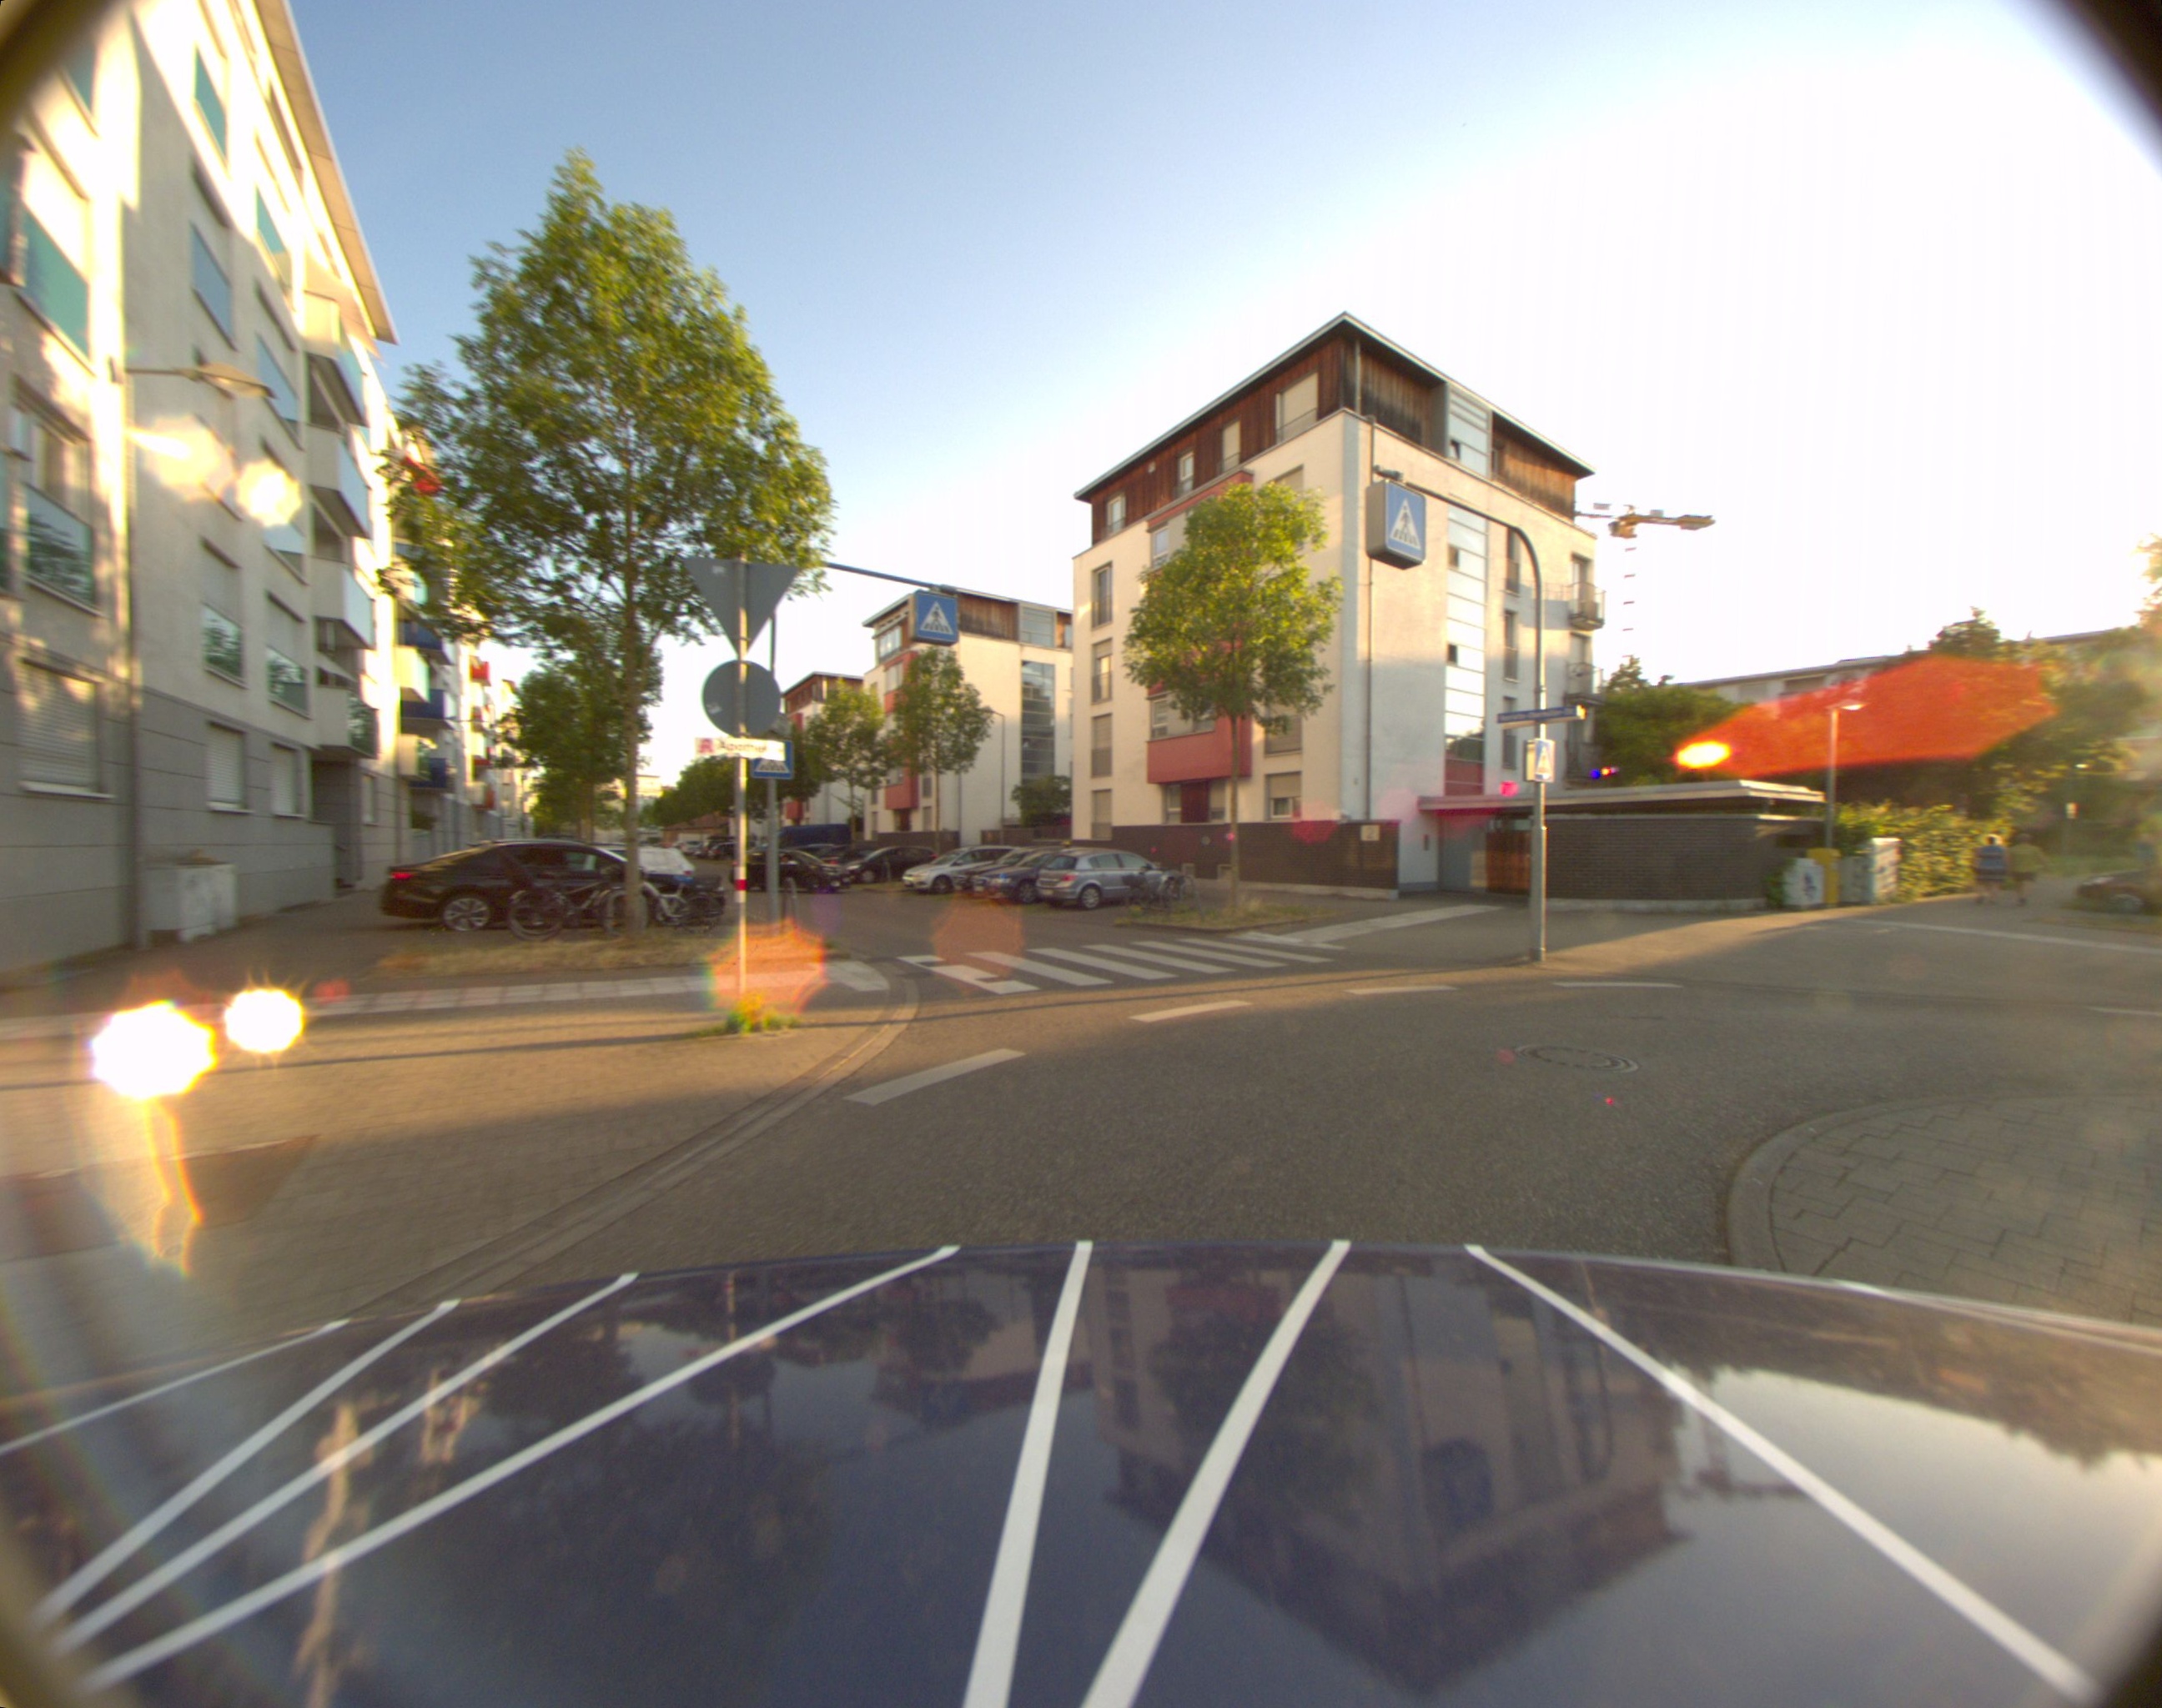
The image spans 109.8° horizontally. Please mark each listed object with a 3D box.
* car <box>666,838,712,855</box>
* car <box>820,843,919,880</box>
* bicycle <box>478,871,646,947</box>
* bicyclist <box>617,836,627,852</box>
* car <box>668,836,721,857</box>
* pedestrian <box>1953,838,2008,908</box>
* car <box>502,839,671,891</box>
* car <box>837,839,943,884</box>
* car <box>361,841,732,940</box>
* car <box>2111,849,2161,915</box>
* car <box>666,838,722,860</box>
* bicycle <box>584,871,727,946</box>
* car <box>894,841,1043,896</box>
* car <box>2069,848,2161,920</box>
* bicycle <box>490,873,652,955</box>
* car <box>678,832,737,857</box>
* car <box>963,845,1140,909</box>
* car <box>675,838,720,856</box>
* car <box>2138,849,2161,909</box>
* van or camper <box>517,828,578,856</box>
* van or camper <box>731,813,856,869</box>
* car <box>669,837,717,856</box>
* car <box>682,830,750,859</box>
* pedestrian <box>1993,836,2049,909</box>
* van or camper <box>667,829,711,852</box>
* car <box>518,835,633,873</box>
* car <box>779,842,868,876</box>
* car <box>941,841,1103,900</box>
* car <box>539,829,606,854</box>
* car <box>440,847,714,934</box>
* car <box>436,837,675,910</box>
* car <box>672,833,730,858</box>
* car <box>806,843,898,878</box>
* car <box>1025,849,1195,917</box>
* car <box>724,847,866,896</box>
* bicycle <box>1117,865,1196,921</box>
[{"bbox_3d":[-41.908,-0.798,81.249,4.263,1.629,1.688,2,0,-33],"label":"car"},{"bbox_3d":[-9.480,0.305,34.185,3.928,1.507,1.719,-2,2,-38],"label":"car"},{"bbox_3d":[-7.770,0.806,11.446,2.040,1.040,0.472,2,-1,-38],"label":"bicycle"},{"bbox_3d":[-45.298,-1.000,75.026,0.769,1.618,0.661,-1,2,-36],"label":"bicyclist"},{"bbox_3d":[-36.925,-0.715,72.592,4.263,1.776,1.688,2,0,-35],"label":"car"},{"bbox_3d":[21.415,0.436,18.112,0.654,1.591,0.714,1,4,37],"label":"pedestrian"},{"bbox_3d":[-15.521,0.365,23.950,4.306,1.499,1.681,2,0,-37],"label":"car"},{"bbox_3d":[-7.983,0.255,31.894,3.928,1.701,1.719,-2,2,-38],"label":"car"},{"bbox_3d":[-8.885,0.602,13.171,4.900,1.449,1.933,2,0,-32],"label":"car"},{"bbox_3d":[26.376,0.687,17.244,1.597,1.492,3.401,-1,3,-32],"label":"car"},{"bbox_3d":[-34.655,-0.446,68.062,4.263,1.776,1.688,2,0,-35],"label":"car"},{"bbox_3d":[-6.524,0.822,11.720,1.844,1.065,0.472,2,-1,-38],"label":"bicycle"},{"bbox_3d":[-3.805,0.413,26.184,4.770,1.576,1.753,-3,3,-38],"label":"car"},{"bbox_3d":[24.388,0.673,16.486,1.694,1.513,3.401,-1,3,-32],"label":"car"},{"bbox_3d":[-7.035,0.804,10.536,1.797,1.035,0.565,2,-1,-38],"label":"bicycle"},{"bbox_3d":[-31.746,-0.819,64.567,4.263,1.919,1.688,2,0,-35],"label":"car"},{"bbox_3d":[-0.761,0.576,21.823,4.927,1.470,1.706,-3,3,-36],"label":"car"},{"bbox_3d":[-42.258,-0.778,83.746,4.263,1.776,1.688,2,0,-33],"label":"car"},{"bbox_3d":[28.856,0.682,18.565,1.597,1.492,3.401,-1,3,-32],"label":"car"},{"bbox_3d":[-46.432,-1.018,66.239,4.263,2.198,1.688,2,0,-35],"label":"van or camper"},{"bbox_3d":[-16.776,-0.800,44.591,6.329,3.070,2.435,-2,2,-38],"label":"van or camper"},{"bbox_3d":[-40.423,-0.801,79.132,4.263,1.776,1.688,2,0,-33],"label":"car"},{"bbox_3d":[-27.023,-0.666,56.337,4.263,1.919,1.688,2,0,-35],"label":"car"},{"bbox_3d":[22.051,0.411,17.845,0.622,1.658,0.745,2,4,39],"label":"pedestrian"},{"bbox_3d":[-45.404,-1.560,88.072,4.263,2.520,1.756,2,0,-33],"label":"van or camper"},{"bbox_3d":[-22.437,0.011,33.818,4.113,1.500,1.661,2,0,-38],"label":"car"},{"bbox_3d":[-13.713,0.282,40.534,4.113,1.616,1.719,2,0,-38],"label":"car"},{"bbox_3d":[-1.822,0.453,24.020,4.795,1.546,1.706,-3,3,-30],"label":"car"},{"bbox_3d":[-40.044,-0.982,59.938,4.263,1.768,1.688,2,0,-33],"label":"car"},{"bbox_3d":[-10.089,0.649,15.594,4.423,1.499,1.738,-1,1,-31],"label":"car"},{"bbox_3d":[-11.892,0.461,17.483,4.305,1.485,1.738,2,0,-35],"label":"car"},{"bbox_3d":[-33.148,-0.742,66.346,4.263,1.991,1.688,2,0,-35],"label":"car"},{"bbox_3d":[-11.614,0.289,38.677,4.112,1.616,1.719,-2,2,-38],"label":"car"},{"bbox_3d":[0.829,0.662,19.814,4.301,1.449,1.676,-3,3,-36],"label":"car"},{"bbox_3d":[-9.766,0.580,26.092,4.173,1.454,1.779,2,0,6],"label":"car"},{"bbox_3d":[1.714,0.855,17.063,1.825,1.061,0.565,-5,4,-36],"label":"bicycle"}]
